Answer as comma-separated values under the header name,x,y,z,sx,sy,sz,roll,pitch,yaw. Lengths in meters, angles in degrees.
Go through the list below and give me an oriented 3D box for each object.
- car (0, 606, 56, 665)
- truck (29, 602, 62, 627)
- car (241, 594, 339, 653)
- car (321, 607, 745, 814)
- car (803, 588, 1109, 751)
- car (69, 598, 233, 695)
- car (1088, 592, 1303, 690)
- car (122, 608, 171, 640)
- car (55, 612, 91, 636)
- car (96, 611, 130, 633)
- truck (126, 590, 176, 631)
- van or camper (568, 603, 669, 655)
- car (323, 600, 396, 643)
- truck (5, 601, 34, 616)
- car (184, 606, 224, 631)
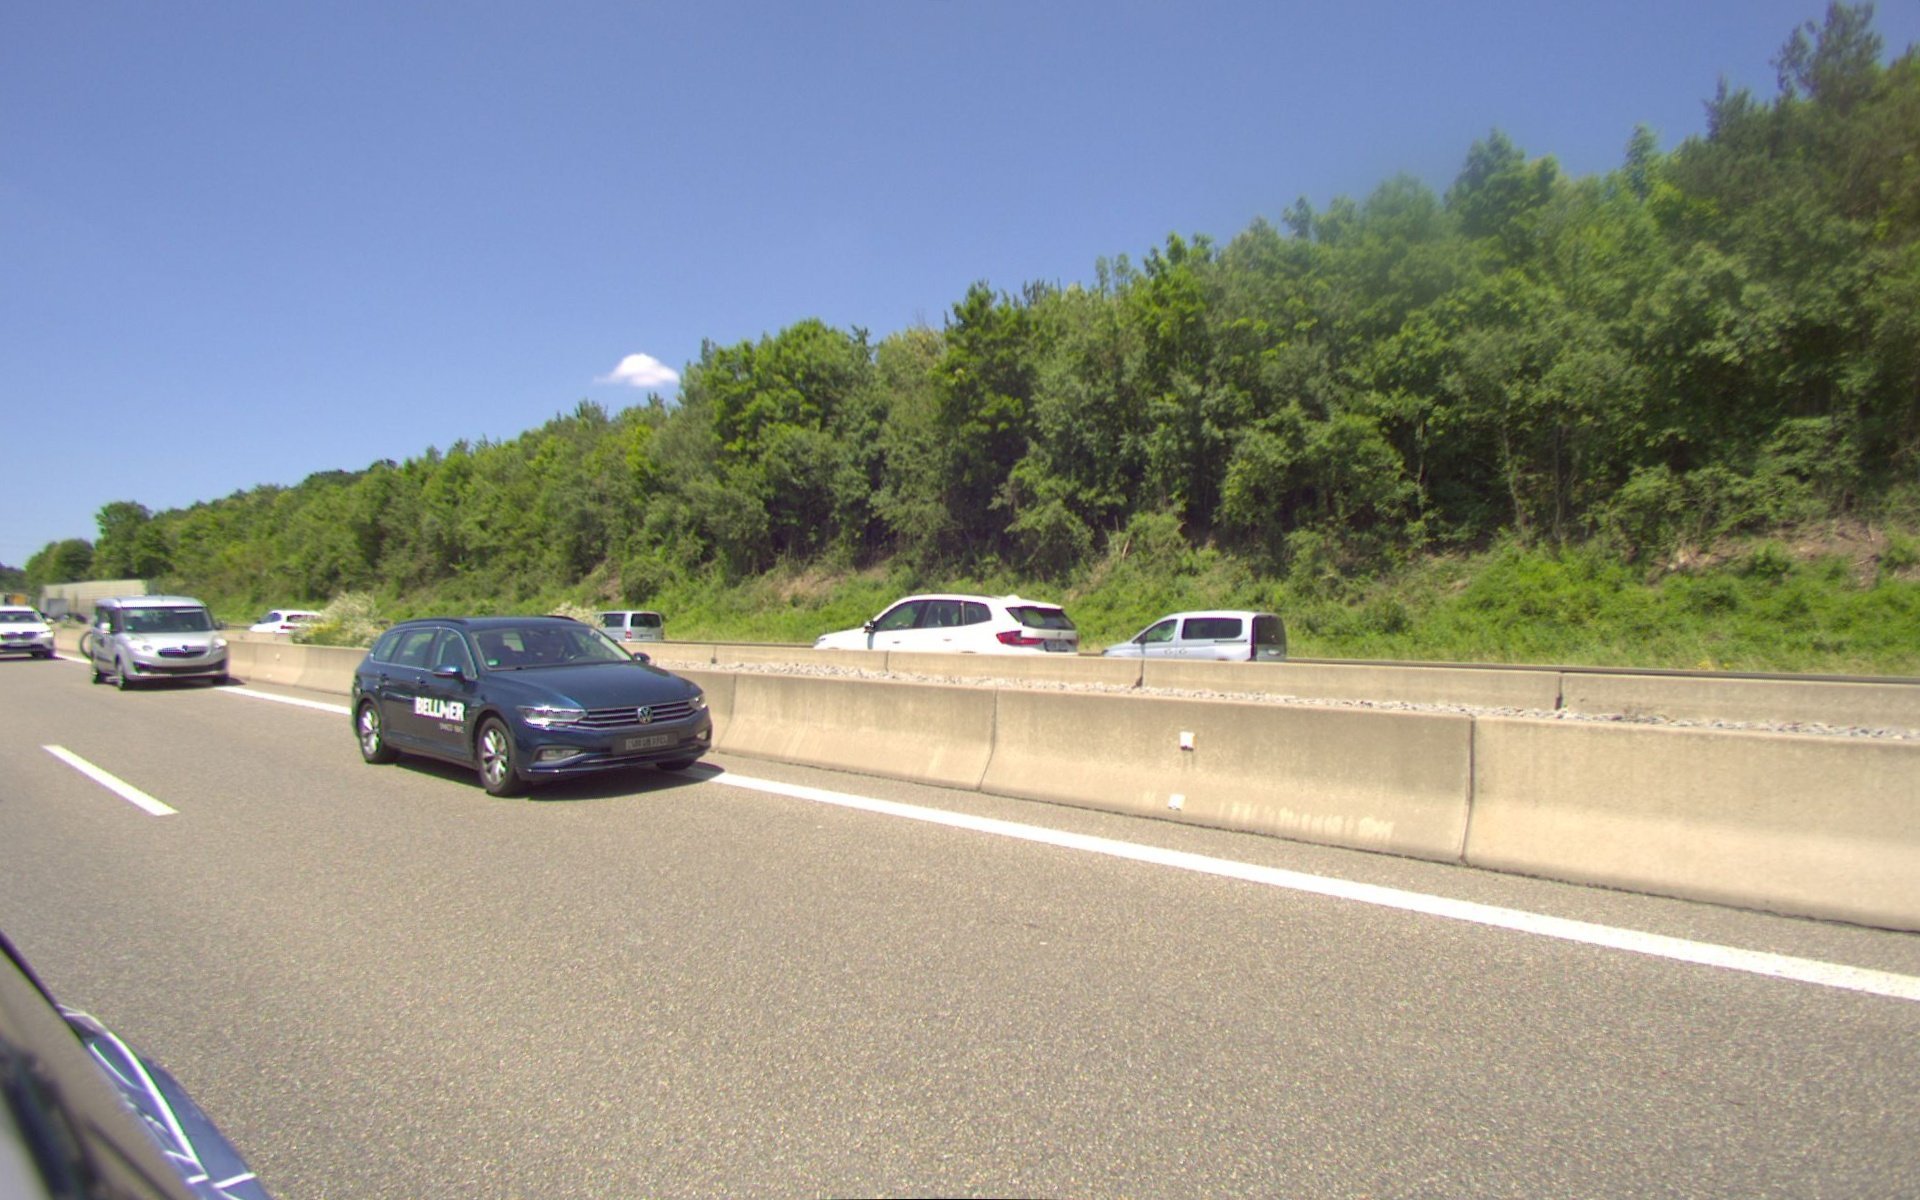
name,x,y,z,sx,sy,sz,roll,pitch,yaw
car,-30.048,1.068,31.971,3.999,1.719,1.800,0,0,42
truck,-112.280,1.737,124.216,6.739,2.906,2.155,0,0,41
car,-24.769,0.805,37.349,4.191,2.029,1.973,0,0,41
car,-4.196,0.808,9.521,4.676,1.461,1.854,0,0,42
car,-0.172,0.846,14.810,4.348,2.029,1.971,0,0,44
car,-16.950,0.860,21.105,4.916,1.786,1.833,0,0,41
car,5.323,0.835,23.288,4.474,2.029,1.971,0,0,44
car,-54.614,1.569,67.911,3.999,2.029,1.972,0,0,42
car,-76.030,2.076,86.733,3.997,1.962,1.833,-1,-1,41
car,-79.881,2.058,95.421,3.997,1.962,1.833,-1,-1,41
truck,-82.620,0.989,103.313,7.988,4.019,2.664,0,0,42
van or camper,-14.326,1.141,42.350,4.680,2.029,1.972,0,0,42
car,-29.825,1.011,50.212,4.282,2.029,1.972,0,0,42
truck,-132.391,1.234,142.439,6.488,2.029,2.327,0,0,41
car,-65.799,1.570,88.112,3.998,2.029,1.973,0,0,41
